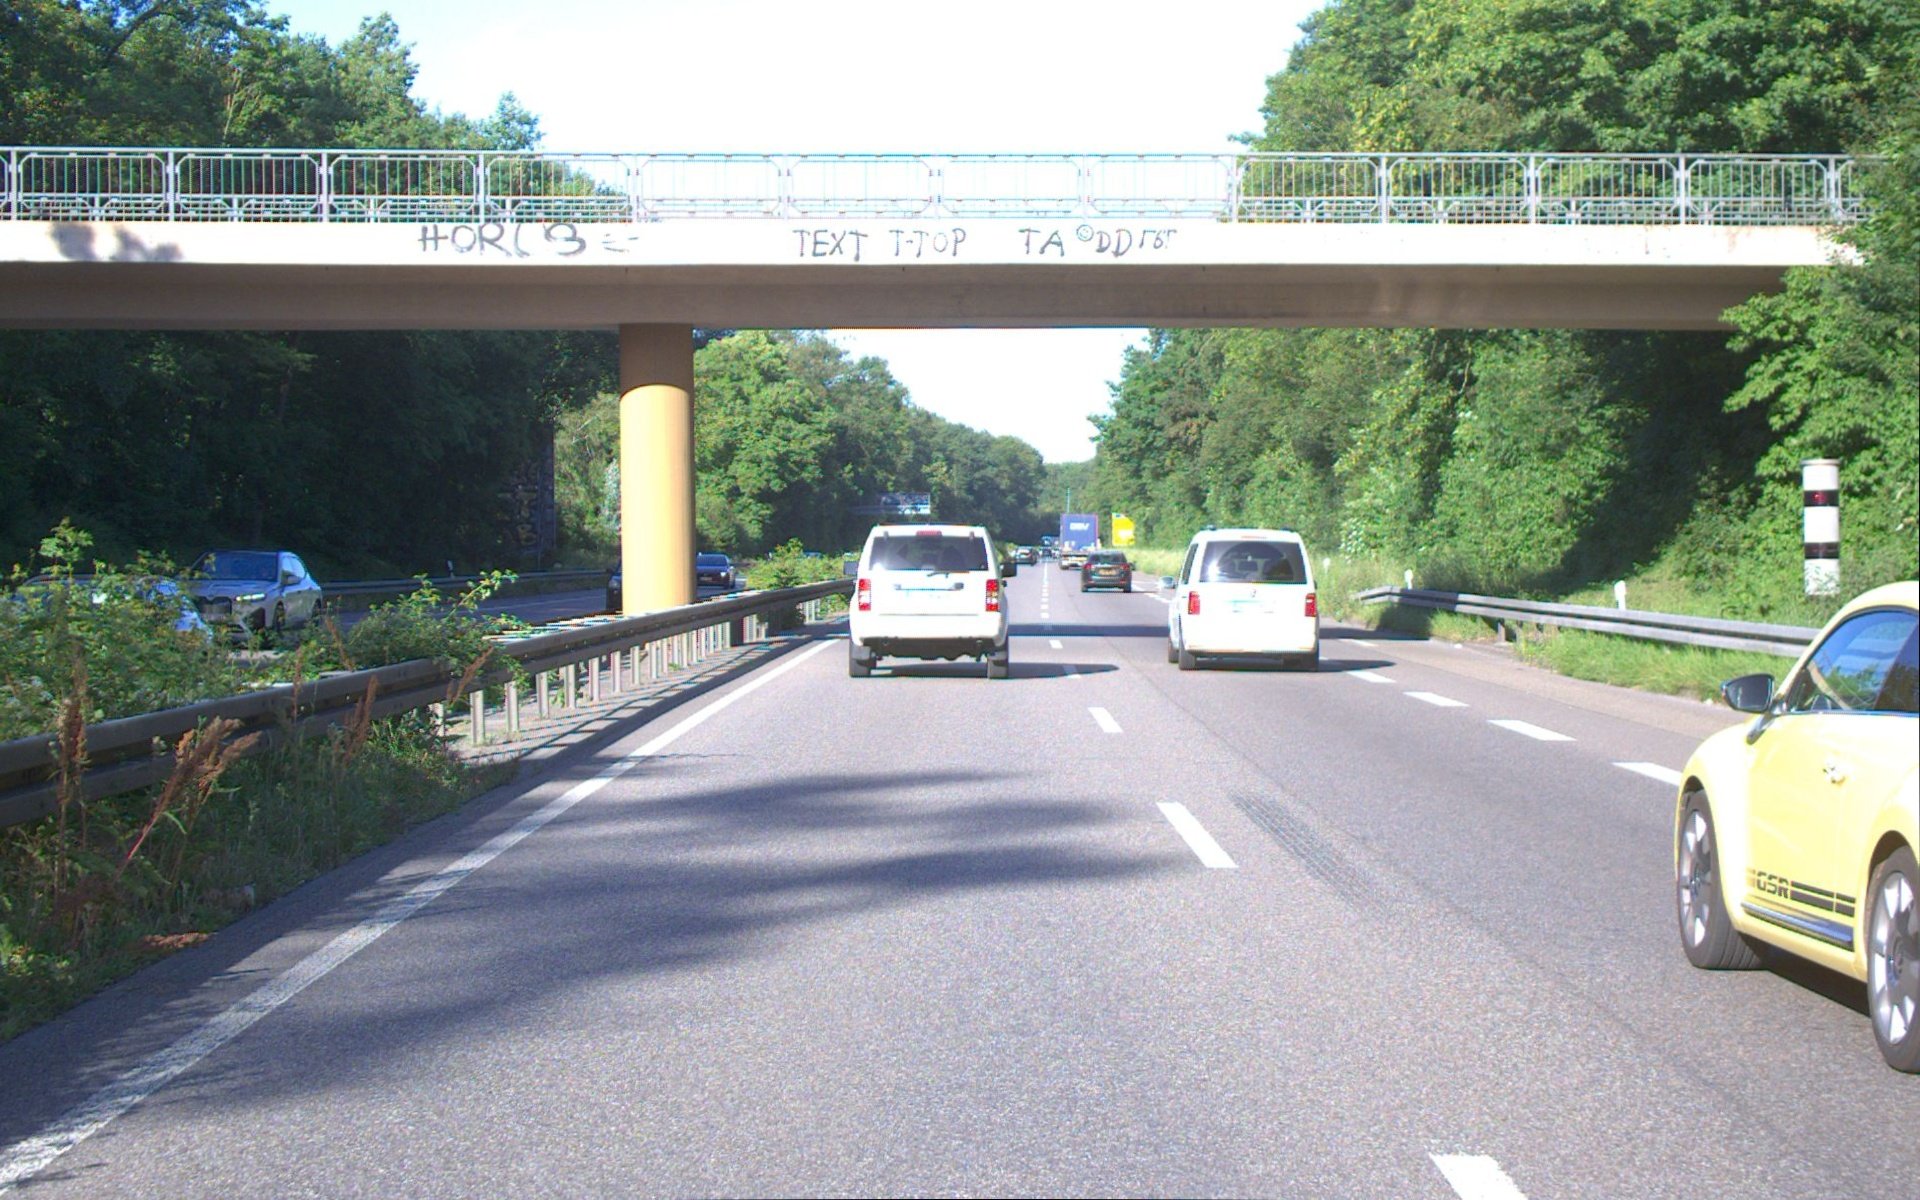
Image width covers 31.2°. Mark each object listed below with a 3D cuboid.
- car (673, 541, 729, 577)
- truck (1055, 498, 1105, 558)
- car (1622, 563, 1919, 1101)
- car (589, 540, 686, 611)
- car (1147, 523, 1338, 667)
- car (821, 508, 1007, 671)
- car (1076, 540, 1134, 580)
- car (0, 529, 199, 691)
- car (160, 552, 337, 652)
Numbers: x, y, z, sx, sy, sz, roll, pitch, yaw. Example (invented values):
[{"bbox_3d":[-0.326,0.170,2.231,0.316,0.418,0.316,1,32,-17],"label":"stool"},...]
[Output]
[{"bbox_3d":[-10.890,-1.722,144.749,1.960,1.445,4.584,1,1,0],"label":"car"},{"bbox_3d":[8.601,-5.131,246.709,3.496,4.158,8.861,0,1,1],"label":"truck"},{"bbox_3d":[3.574,0.638,11.254,1.879,1.456,4.356,1,1,-1],"label":"car"},{"bbox_3d":[-7.994,-0.632,85.521,1.960,1.718,4.592,0,1,0],"label":"car"},{"bbox_3d":[3.599,-0.101,44.572,1.863,1.764,4.470,0,1,-3],"label":"car"},{"bbox_3d":[-0.595,-0.153,40.586,2.085,1.822,4.001,0,1,-2],"label":"car"},{"bbox_3d":[5.183,-1.450,123.543,1.993,1.393,4.000,0,1,1],"label":"car"},{"bbox_3d":[-8.994,0.054,34.035,1.852,1.484,4.785,0,1,0],"label":"car"},{"bbox_3d":[-12.453,0.004,60.481,1.961,1.653,5.040,0,1,1],"label":"car"}]
